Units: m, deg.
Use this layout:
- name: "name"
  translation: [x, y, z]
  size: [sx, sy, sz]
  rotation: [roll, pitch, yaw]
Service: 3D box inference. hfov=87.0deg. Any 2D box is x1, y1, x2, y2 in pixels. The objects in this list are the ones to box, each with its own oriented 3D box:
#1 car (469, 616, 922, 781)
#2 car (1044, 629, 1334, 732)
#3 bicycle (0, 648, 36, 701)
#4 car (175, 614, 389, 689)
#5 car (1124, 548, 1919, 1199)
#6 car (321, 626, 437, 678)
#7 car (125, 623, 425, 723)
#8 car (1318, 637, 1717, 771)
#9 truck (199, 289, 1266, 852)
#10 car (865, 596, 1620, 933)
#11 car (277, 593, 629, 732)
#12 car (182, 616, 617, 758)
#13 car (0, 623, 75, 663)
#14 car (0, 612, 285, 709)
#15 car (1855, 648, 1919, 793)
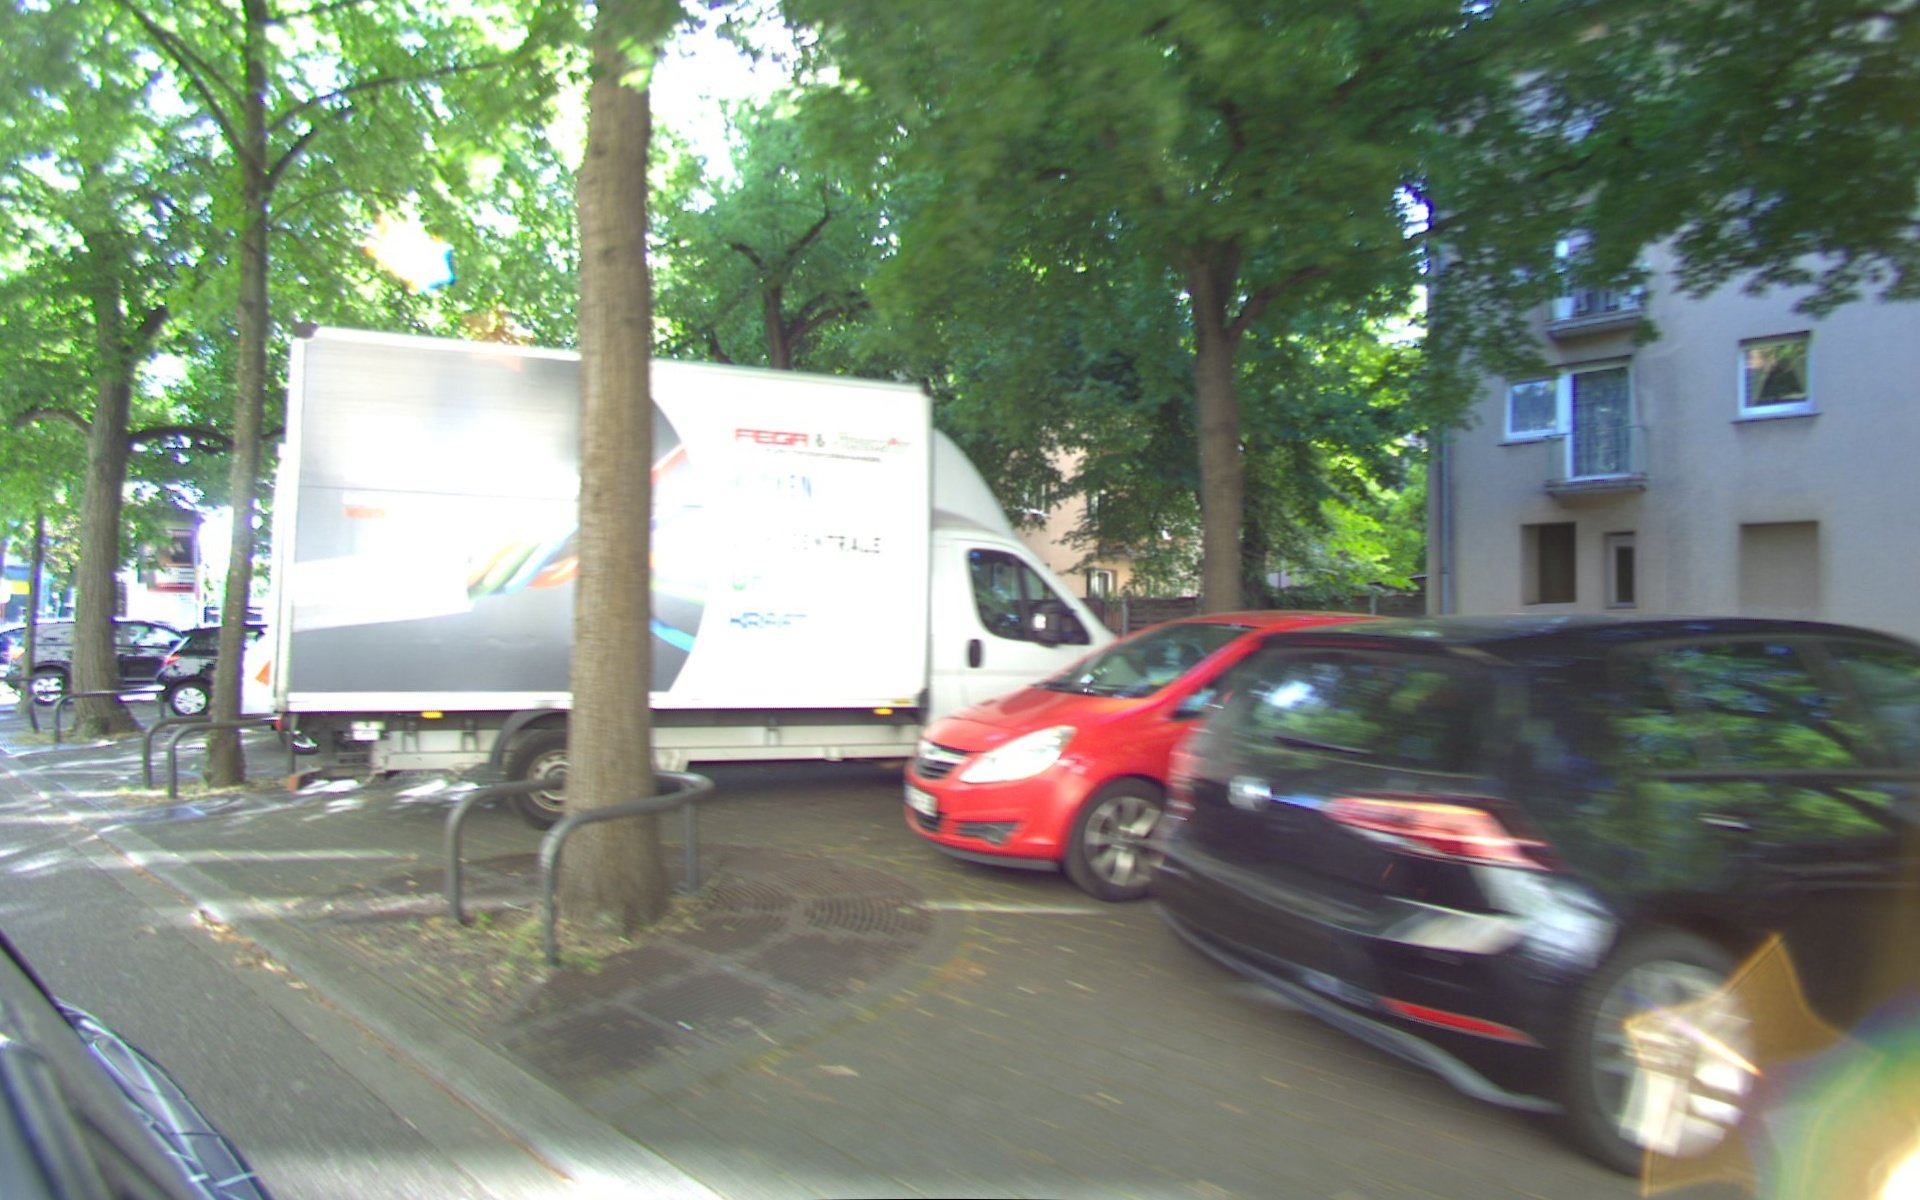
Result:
- name: "car"
  translation: [-2.695, 0.961, 10.768]
  size: [4.270, 1.518, 1.819]
  rotation: [1, -2, -15]
- name: "car"
  translation: [3.641, 1.216, 16.576]
  size: [4.342, 1.446, 1.745]
  rotation: [-1, -2, 42]
- name: "bicycle"
  translation: [-20.596, 1.600, 21.954]
  size: [1.586, 1.080, 0.350]
  rotation: [-1, -2, 31]
- name: "car"
  translation: [-15.692, 1.199, 23.709]
  size: [3.931, 1.623, 1.928]
  rotation: [2, -3, -28]
- name: "car"
  translation: [2.798, 0.686, 3.501]
  size: [4.038, 1.518, 1.738]
  rotation: [0, -1, -17]
- name: "car"
  translation: [-18.312, 1.582, 31.804]
  size: [4.299, 1.530, 1.883]
  rotation: [-1, -2, 42]
- name: "car"
  translation: [-11.068, 1.152, 16.688]
  size: [3.757, 1.492, 1.767]
  rotation: [1, -2, -20]
- name: "car"
  translation: [7.131, 1.252, 13.239]
  size: [4.333, 1.446, 1.749]
  rotation: [-1, -4, 35]
- name: "truck"
  translation: [-1.370, -0.073, 8.256]
  size: [7.200, 3.319, 2.554]
  rotation: [1, -2, -18]
- name: "car"
  translation: [1.568, 0.771, 6.025]
  size: [3.931, 1.514, 1.854]
  rotation: [0, -1, -17]
- name: "car"
  translation: [-7.369, 0.897, 15.249]
  size: [4.427, 1.887, 1.941]
  rotation: [1, -2, -15]
- name: "car"
  translation: [-6.469, 0.977, 12.237]
  size: [4.270, 1.518, 1.819]
  rotation: [1, -2, -15]
- name: "car"
  translation: [-37.961, 1.731, 41.260]
  size: [1.655, 1.519, 3.608]
  rotation: [-1, -1, -21]
- name: "car"
  translation: [-16.097, 1.134, 19.992]
  size: [4.262, 1.684, 1.843]
  rotation: [-1, -1, -19]
- name: "car"
  translation: [11.423, 1.203, 9.433]
  size: [4.531, 1.417, 1.602]
  rotation: [-1, -2, 40]
